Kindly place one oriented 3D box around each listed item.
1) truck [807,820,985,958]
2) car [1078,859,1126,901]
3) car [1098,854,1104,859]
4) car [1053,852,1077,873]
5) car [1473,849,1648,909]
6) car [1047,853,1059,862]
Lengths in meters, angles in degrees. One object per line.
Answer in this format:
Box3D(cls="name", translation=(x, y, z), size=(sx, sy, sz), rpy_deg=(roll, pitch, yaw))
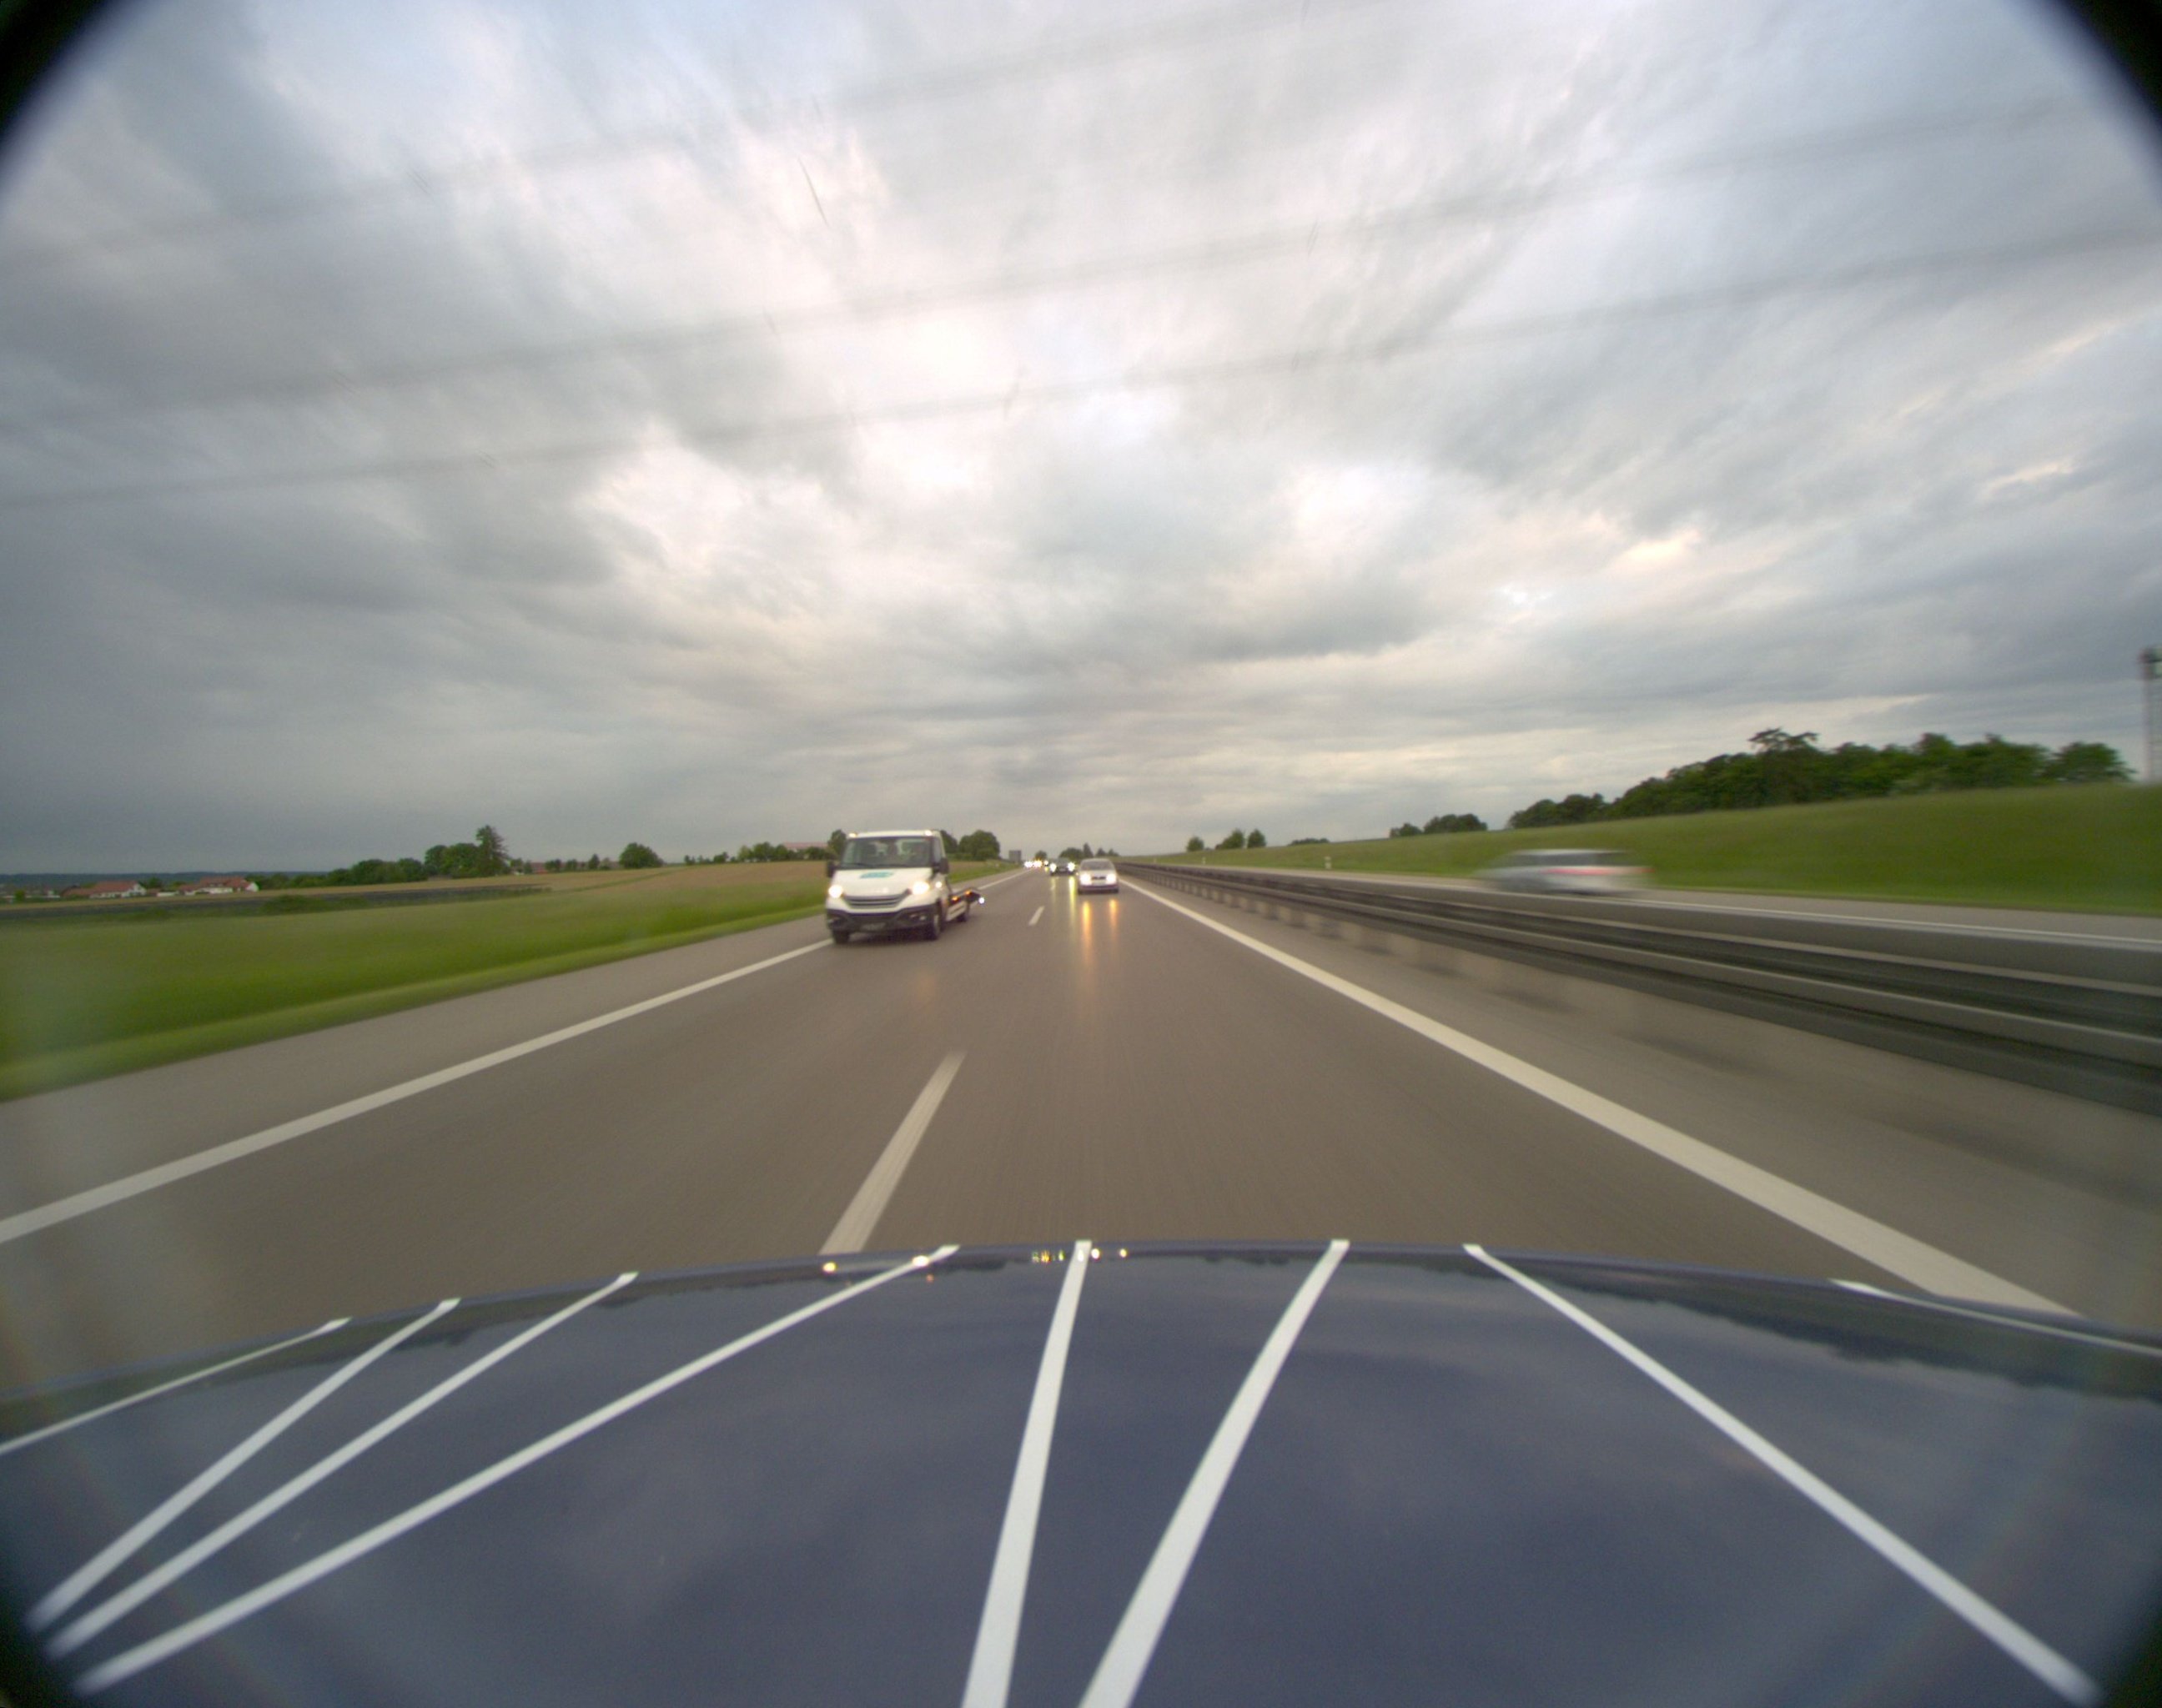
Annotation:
Box3D(cls="truck", translation=(-3.792, 0.624, 17.429), size=(2.177, 2.346, 7.695), rpy_deg=(-3, 0, -1))
Box3D(cls="car", translation=(0.713, 0.908, 28.502), size=(1.592, 1.381, 4.600), rpy_deg=(0, 1, -1))
Box3D(cls="car", translation=(6.426, 0.767, 244.354), size=(1.849, 1.453, 3.999), rpy_deg=(-3, 0, -1))
Box3D(cls="car", translation=(-1.359, 0.697, 63.900), size=(1.951, 1.620, 4.535), rpy_deg=(-1, 0, -1))
Box3D(cls="car", translation=(13.807, 0.644, 22.384), size=(1.769, 1.474, 5.333), rpy_deg=(-3, 0, 0))
Box3D(cls="car", translation=(-5.134, 0.567, 138.665), size=(1.808, 1.619, 3.901), rpy_deg=(-1, 0, -6))
